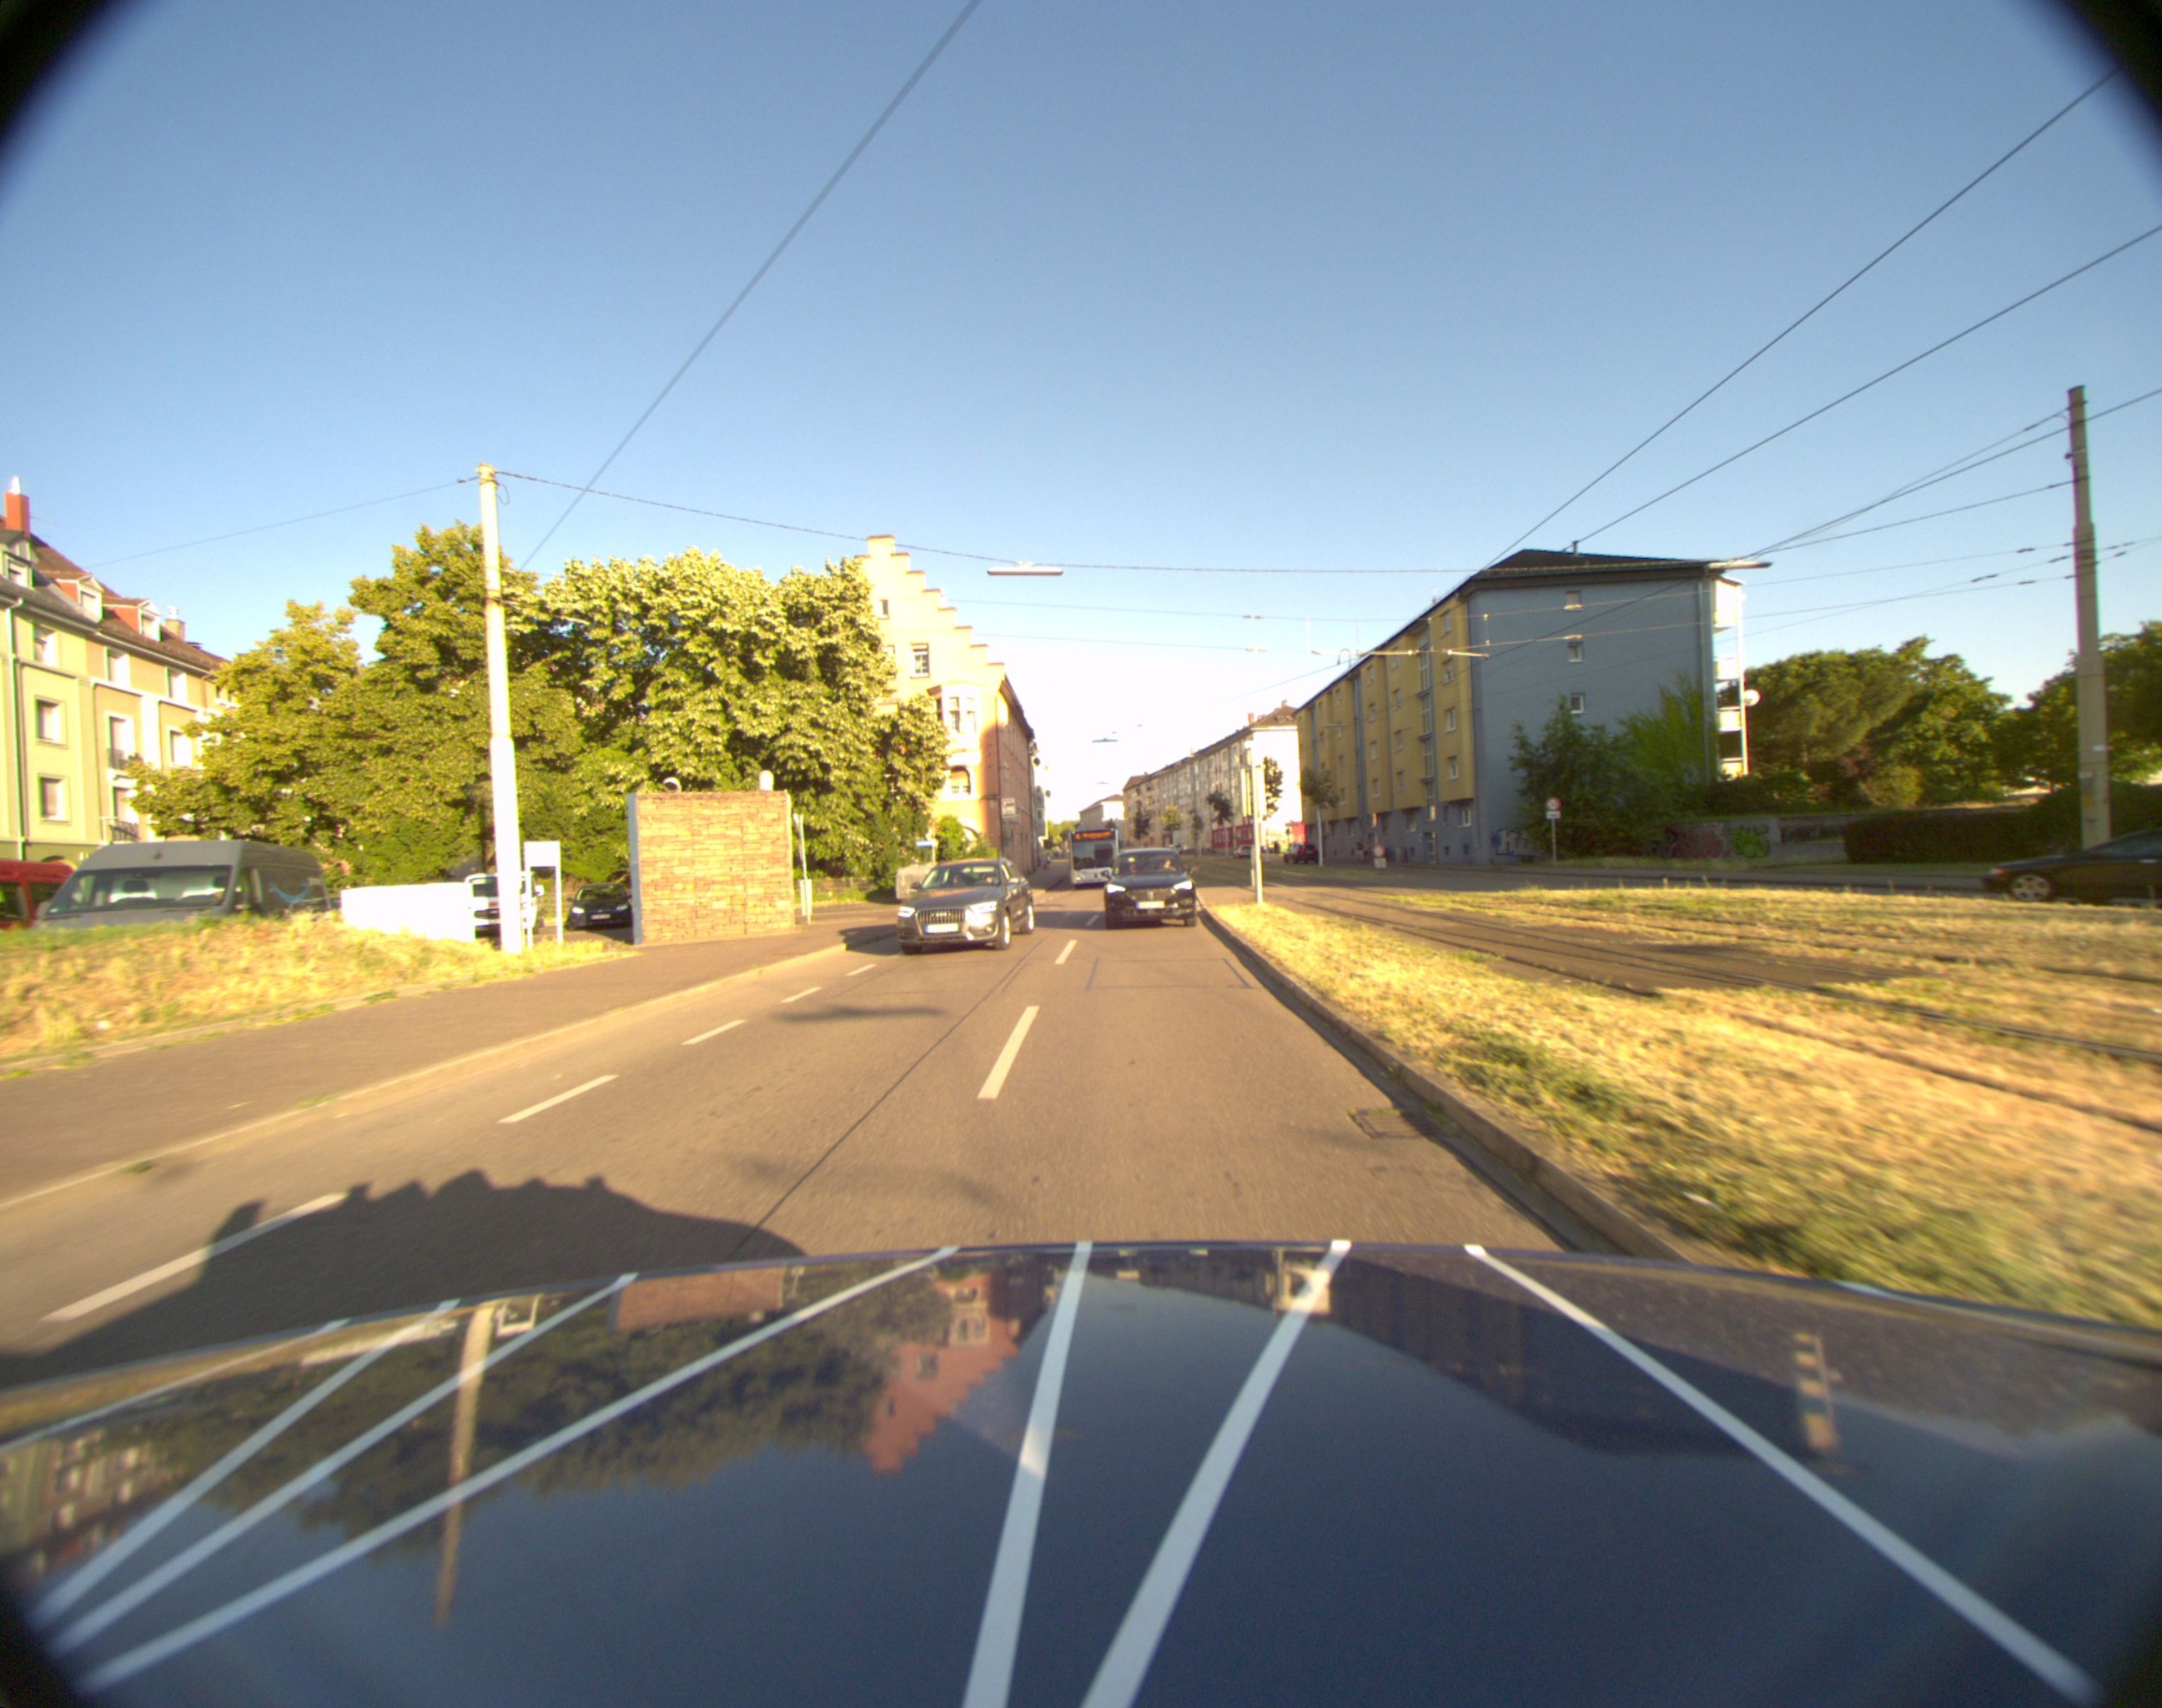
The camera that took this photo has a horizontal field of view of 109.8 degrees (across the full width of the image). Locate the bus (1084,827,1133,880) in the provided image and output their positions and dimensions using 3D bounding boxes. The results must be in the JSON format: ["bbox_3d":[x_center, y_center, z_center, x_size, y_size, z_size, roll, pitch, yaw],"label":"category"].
[{"bbox_3d":[2.033,-0.079,51.897,2.711,3.059,10.602,-4,0,4],"label":"bus"}]

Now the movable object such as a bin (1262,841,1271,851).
[{"bbox_3d":[23.485,-1.032,96.385,0.868,1.219,0.806,-3,1,-4],"label":"movable object such as a bin"}]

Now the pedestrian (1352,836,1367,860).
[{"bbox_3d":[21.092,-0.426,57.602,0.594,1.763,0.885,-7,1,0],"label":"pedestrian"}]

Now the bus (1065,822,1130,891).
[{"bbox_3d":[1.120,0.064,41.298,2.730,3.059,10.602,-4,0,4],"label":"bus"}]

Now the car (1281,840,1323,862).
[{"bbox_3d":[17.613,-0.233,60.811,1.923,1.652,4.708,-2,0,-1],"label":"car"}]

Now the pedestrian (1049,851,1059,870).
[{"bbox_3d":[-2.540,0.577,71.511,0.832,1.761,0.996,-2,1,0],"label":"pedestrian"}]

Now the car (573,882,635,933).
[{"bbox_3d":[-16.203,1.771,25.952,1.633,1.450,3.438,-3,0,-30],"label":"car"}]

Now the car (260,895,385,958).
[{"bbox_3d":[-22.358,2.068,22.590,1.753,1.458,4.214,-3,1,-33],"label":"car"}]

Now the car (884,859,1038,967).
[{"bbox_3d":[-2.006,0.949,13.989,1.770,1.578,4.069,-3,0,5],"label":"car"}]

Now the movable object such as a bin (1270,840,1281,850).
[{"bbox_3d":[24.687,-1.135,96.545,1.161,1.279,0.806,-3,1,-4],"label":"movable object such as a bin"}]

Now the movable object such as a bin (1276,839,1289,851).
[{"bbox_3d":[25.196,-1.129,94.932,1.220,1.407,1.138,-3,1,-4],"label":"movable object such as a bin"}]

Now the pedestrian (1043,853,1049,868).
[{"bbox_3d":[-3.325,0.614,72.412,0.515,1.337,0.609,-2,2,-4],"label":"pedestrian"}]

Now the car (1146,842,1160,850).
[{"bbox_3d":[12.983,-1.465,137.691,1.798,1.460,4.793,-1,1,-3],"label":"car"}]

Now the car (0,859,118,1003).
[{"bbox_3d":[-17.767,1.220,11.566,2.046,2.201,5.402,-2,0,-32],"label":"car"}]

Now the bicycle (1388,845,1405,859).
[{"bbox_3d":[22.390,-0.120,53.974,0.428,0.954,1.912,-2,1,2],"label":"bicycle"}]

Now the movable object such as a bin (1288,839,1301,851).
[{"bbox_3d":[26.705,-1.130,94.985,1.220,1.407,1.107,-3,1,-4],"label":"movable object such as a bin"}]

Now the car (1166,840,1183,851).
[{"bbox_3d":[16.413,-1.448,133.015,1.872,1.818,4.418,-2,0,-8],"label":"car"}]

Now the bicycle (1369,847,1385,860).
[{"bbox_3d":[22.245,-0.077,57.187,0.428,0.920,1.912,-6,1,2],"label":"bicycle"}]

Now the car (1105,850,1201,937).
[{"bbox_3d":[1.513,0.749,16.675,1.787,1.615,4.217,-1,0,4],"label":"car"}]

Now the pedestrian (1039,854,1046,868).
[{"bbox_3d":[-3.601,0.652,71.564,0.589,1.244,0.584,-2,1,0],"label":"pedestrian"}]

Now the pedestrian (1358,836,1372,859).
[{"bbox_3d":[21.658,-0.488,57.994,0.618,1.685,0.706,-7,1,0],"label":"pedestrian"}]

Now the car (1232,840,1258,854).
[{"bbox_3d":[17.390,-0.779,80.754,1.702,1.451,4.314,-1,1,-2],"label":"car"}]

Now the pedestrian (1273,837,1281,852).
[{"bbox_3d":[23.137,-1.144,89.878,0.615,1.679,0.791,-3,1,-5],"label":"pedestrian"}]

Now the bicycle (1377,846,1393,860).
[{"bbox_3d":[22.368,-0.084,55.913,0.428,0.920,1.912,-6,1,2],"label":"bicycle"}]

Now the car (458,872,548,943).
[{"bbox_3d":[-18.622,1.618,24.680,1.930,1.967,4.737,-3,1,-33],"label":"car"}]

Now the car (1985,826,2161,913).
[{"bbox_3d":[19.194,0.264,13.053,1.782,1.473,4.395,0,0,-11],"label":"car"}]

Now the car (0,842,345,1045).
[{"bbox_3d":[-15.243,1.236,13.264,2.046,2.650,6.200,-2,0,-32],"label":"car"}]
